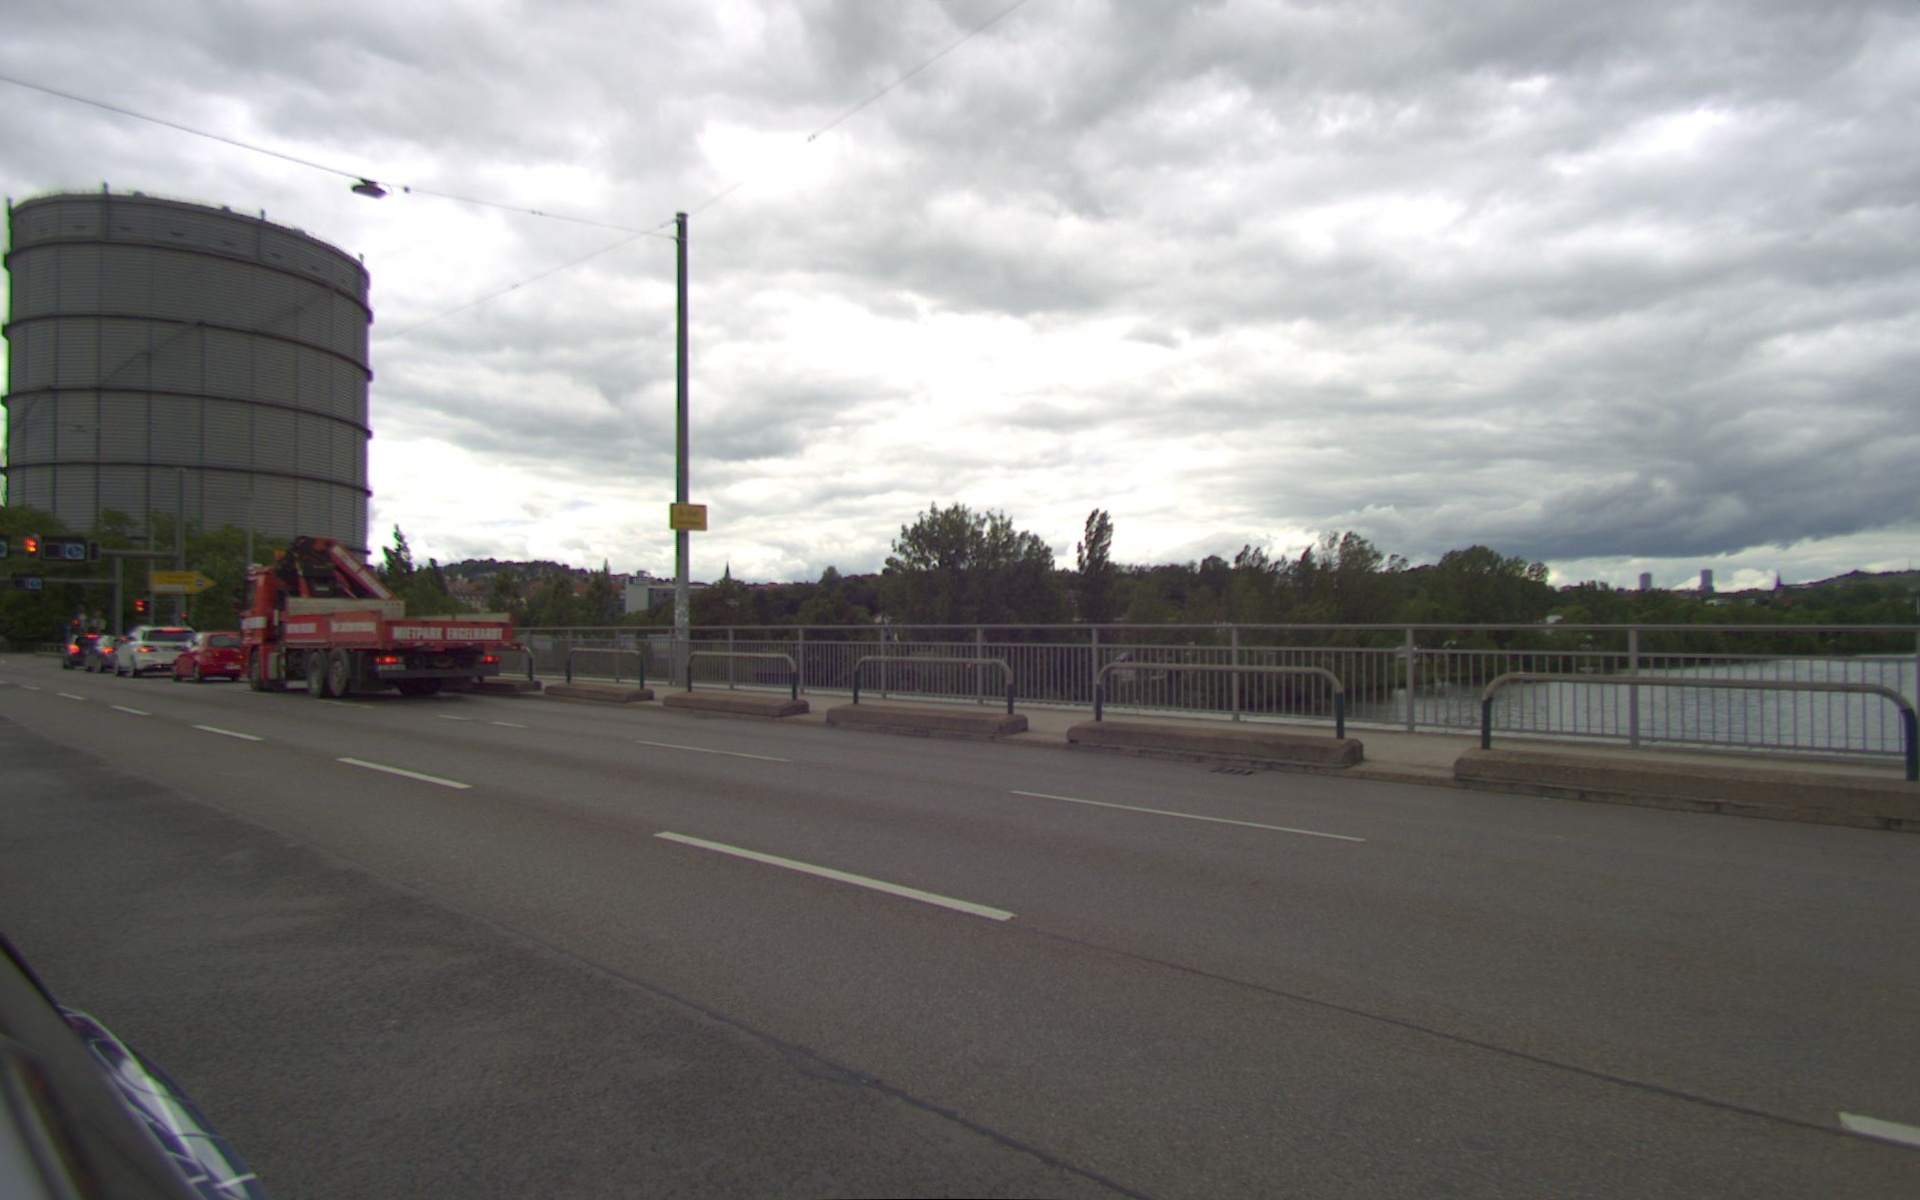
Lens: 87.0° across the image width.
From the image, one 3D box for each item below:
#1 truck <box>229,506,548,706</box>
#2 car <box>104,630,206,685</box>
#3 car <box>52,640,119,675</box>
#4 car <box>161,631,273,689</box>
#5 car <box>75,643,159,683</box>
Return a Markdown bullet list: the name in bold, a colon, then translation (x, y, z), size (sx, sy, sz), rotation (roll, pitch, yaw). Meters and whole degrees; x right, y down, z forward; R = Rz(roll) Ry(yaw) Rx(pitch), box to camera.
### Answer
- **truck**: translation (-13.110, 0.310, 22.640), size (9.975, 3.593, 2.974), rotation (-2, -4, 41)
- **car**: translation (-27.784, 1.960, 34.890), size (4.799, 1.775, 1.860), rotation (-2, -4, 41)
- **car**: translation (-39.438, 2.579, 45.610), size (3.871, 1.516, 1.815), rotation (-3, -4, 43)
- **car**: translation (-22.407, 1.782, 30.476), size (4.013, 1.615, 1.860), rotation (-2, -4, 41)
- **car**: translation (-33.725, 2.477, 40.452), size (4.514, 1.516, 1.816), rotation (-2, -4, 41)
